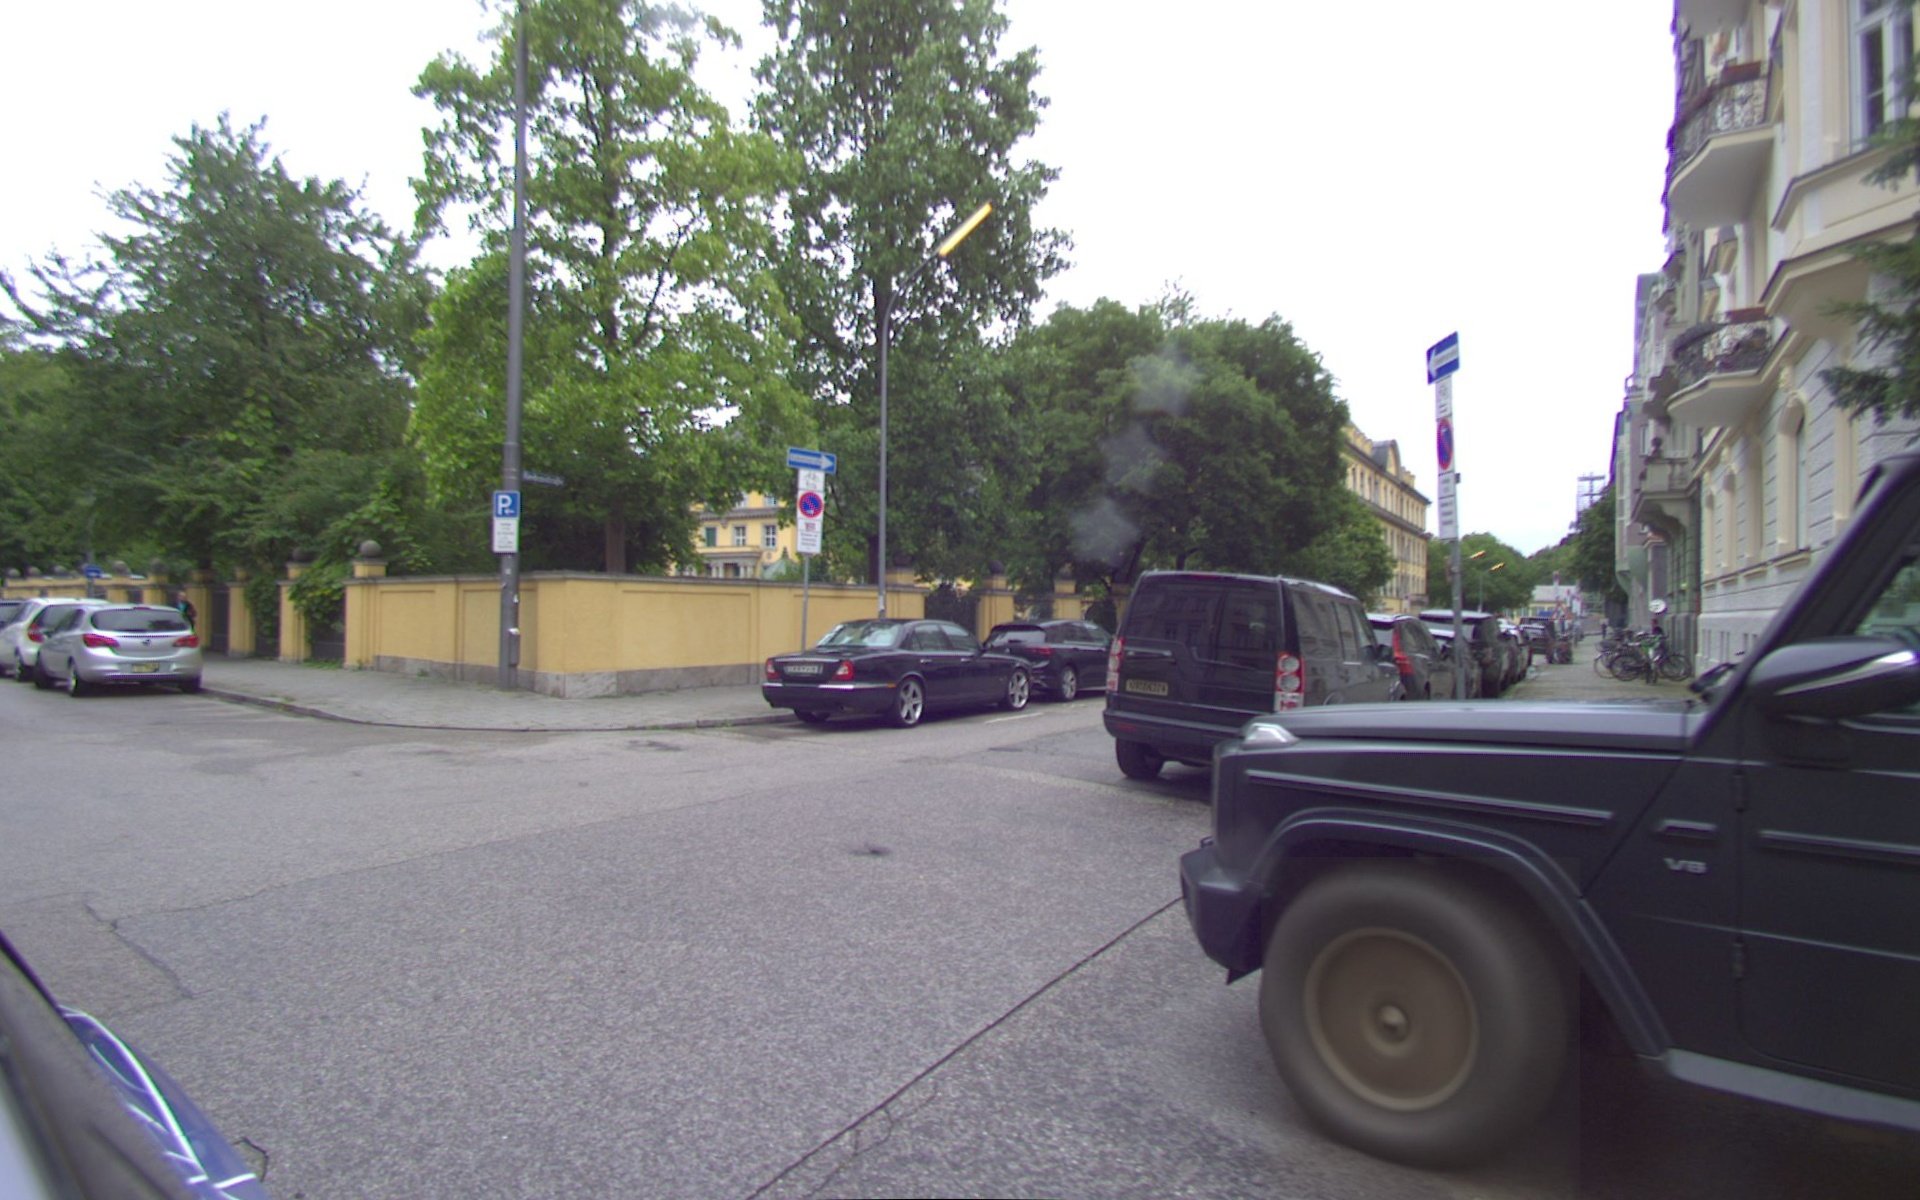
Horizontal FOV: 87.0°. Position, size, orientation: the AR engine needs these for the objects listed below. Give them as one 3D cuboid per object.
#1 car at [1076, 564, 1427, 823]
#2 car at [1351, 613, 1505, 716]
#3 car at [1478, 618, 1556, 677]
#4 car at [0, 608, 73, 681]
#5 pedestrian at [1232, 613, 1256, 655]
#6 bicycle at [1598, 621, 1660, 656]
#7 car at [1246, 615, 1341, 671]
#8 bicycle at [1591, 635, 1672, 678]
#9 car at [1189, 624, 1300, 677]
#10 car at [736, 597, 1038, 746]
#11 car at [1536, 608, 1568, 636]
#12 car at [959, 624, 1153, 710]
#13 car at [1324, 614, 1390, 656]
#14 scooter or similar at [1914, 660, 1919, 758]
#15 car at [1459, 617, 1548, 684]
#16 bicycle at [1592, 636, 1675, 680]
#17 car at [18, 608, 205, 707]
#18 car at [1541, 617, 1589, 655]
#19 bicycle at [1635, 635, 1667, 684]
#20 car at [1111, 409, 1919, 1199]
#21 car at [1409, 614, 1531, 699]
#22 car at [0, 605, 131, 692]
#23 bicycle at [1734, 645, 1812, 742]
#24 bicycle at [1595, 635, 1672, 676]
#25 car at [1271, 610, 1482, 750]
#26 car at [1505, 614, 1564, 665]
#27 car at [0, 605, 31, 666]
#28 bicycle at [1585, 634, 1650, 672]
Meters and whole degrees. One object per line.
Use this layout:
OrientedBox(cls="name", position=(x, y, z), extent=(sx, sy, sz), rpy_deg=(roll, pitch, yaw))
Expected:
OrientedBox(cls="car", position=(3.045, 0.732, 9.783), extent=(2.049, 1.872, 4.470), rpy_deg=(-1, -2, 33))
OrientedBox(cls="car", position=(8.835, 1.106, 18.884), extent=(1.929, 1.577, 4.383), rpy_deg=(3, 0, 33))
OrientedBox(cls="car", position=(19.640, 1.602, 35.581), extent=(2.049, 1.871, 4.470), rpy_deg=(1, 0, 33))
OrientedBox(cls="car", position=(-22.064, 0.991, 23.409), extent=(3.926, 1.573, 1.633), rpy_deg=(-1, -3, 39))
OrientedBox(cls="pedestrian", position=(11.733, 1.401, 41.764), extent=(0.781, 1.703, 0.710), rpy_deg=(0, -1, 32))
OrientedBox(cls="bicycle", position=(22.042, 1.256, 33.366), extent=(1.648, 1.135, 0.712), rpy_deg=(-1, -1, 31))
OrientedBox(cls="car", position=(10.890, 1.338, 32.886), extent=(1.828, 1.696, 4.191), rpy_deg=(-1, -1, 35))
OrientedBox(cls="bicycle", position=(18.761, 1.569, 28.321), extent=(1.839, 1.155, 0.532), rpy_deg=(-1, -1, 29))
OrientedBox(cls="car", position=(8.259, 1.395, 29.149), extent=(1.828, 1.395, 4.191), rpy_deg=(-1, -2, 35))
OrientedBox(cls="car", position=(-0.824, 0.897, 14.467), extent=(1.900, 1.757, 4.686), rpy_deg=(0, -2, 33))
OrientedBox(cls="car", position=(43.411, 1.602, 74.230), extent=(1.993, 1.929, 3.958), rpy_deg=(0, -1, 31))
OrientedBox(cls="car", position=(1.915, 1.164, 18.970), extent=(1.849, 1.395, 4.191), rpy_deg=(-1, -2, 35))
OrientedBox(cls="car", position=(16.608, 1.428, 42.214), extent=(1.820, 1.681, 3.955), rpy_deg=(0, -1, 33))
OrientedBox(cls="scooter or similar", position=(6.105, 0.970, 6.075), extent=(0.460, 1.188, 1.411), rpy_deg=(-4, -3, 45))
OrientedBox(cls="car", position=(17.107, 1.525, 31.744), extent=(2.049, 1.871, 4.470), rpy_deg=(1, 0, 33))
OrientedBox(cls="bicycle", position=(18.487, 1.567, 27.802), extent=(1.839, 1.155, 0.532), rpy_deg=(-1, -1, 29))
OrientedBox(cls="car", position=(-14.524, 0.917, 17.266), extent=(3.951, 1.504, 1.683), rpy_deg=(-1, -3, 39))
OrientedBox(cls="car", position=(31.945, 1.877, 53.379), extent=(2.048, 1.872, 4.471), rpy_deg=(-1, -2, 32))
OrientedBox(cls="bicycle", position=(17.251, 1.467, 25.287), extent=(0.536, 1.155, 1.936), rpy_deg=(-1, -1, 31))
OrientedBox(cls="car", position=(2.907, 0.614, 2.247), extent=(4.813, 1.901, 1.892), rpy_deg=(0, -2, 40))
OrientedBox(cls="car", position=(11.534, 1.191, 22.743), extent=(1.929, 1.607, 4.193), rpy_deg=(3, 0, 33))
OrientedBox(cls="car", position=(-18.267, 0.904, 20.390), extent=(3.926, 1.573, 1.684), rpy_deg=(-1, 0, 39))
OrientedBox(cls="bicycle", position=(10.950, 1.215, 13.678), extent=(0.536, 1.155, 1.936), rpy_deg=(0, -1, 31))
OrientedBox(cls="bicycle", position=(19.891, 1.631, 29.932), extent=(1.839, 1.155, 0.656), rpy_deg=(-1, -1, 29))
OrientedBox(cls="car", position=(6.035, 0.998, 14.321), extent=(1.929, 1.577, 4.470), rpy_deg=(2, 0, 33))
OrientedBox(cls="car", position=(24.338, 1.627, 42.818), extent=(1.878, 2.029, 3.954), rpy_deg=(0, -1, 34))
OrientedBox(cls="car", position=(-26.242, 0.915, 26.929), extent=(3.926, 1.573, 1.633), rpy_deg=(-1, -3, 39))
OrientedBox(cls="bicycle", position=(20.456, 1.632, 31.509), extent=(1.648, 1.135, 0.712), rpy_deg=(-1, -1, 31))
